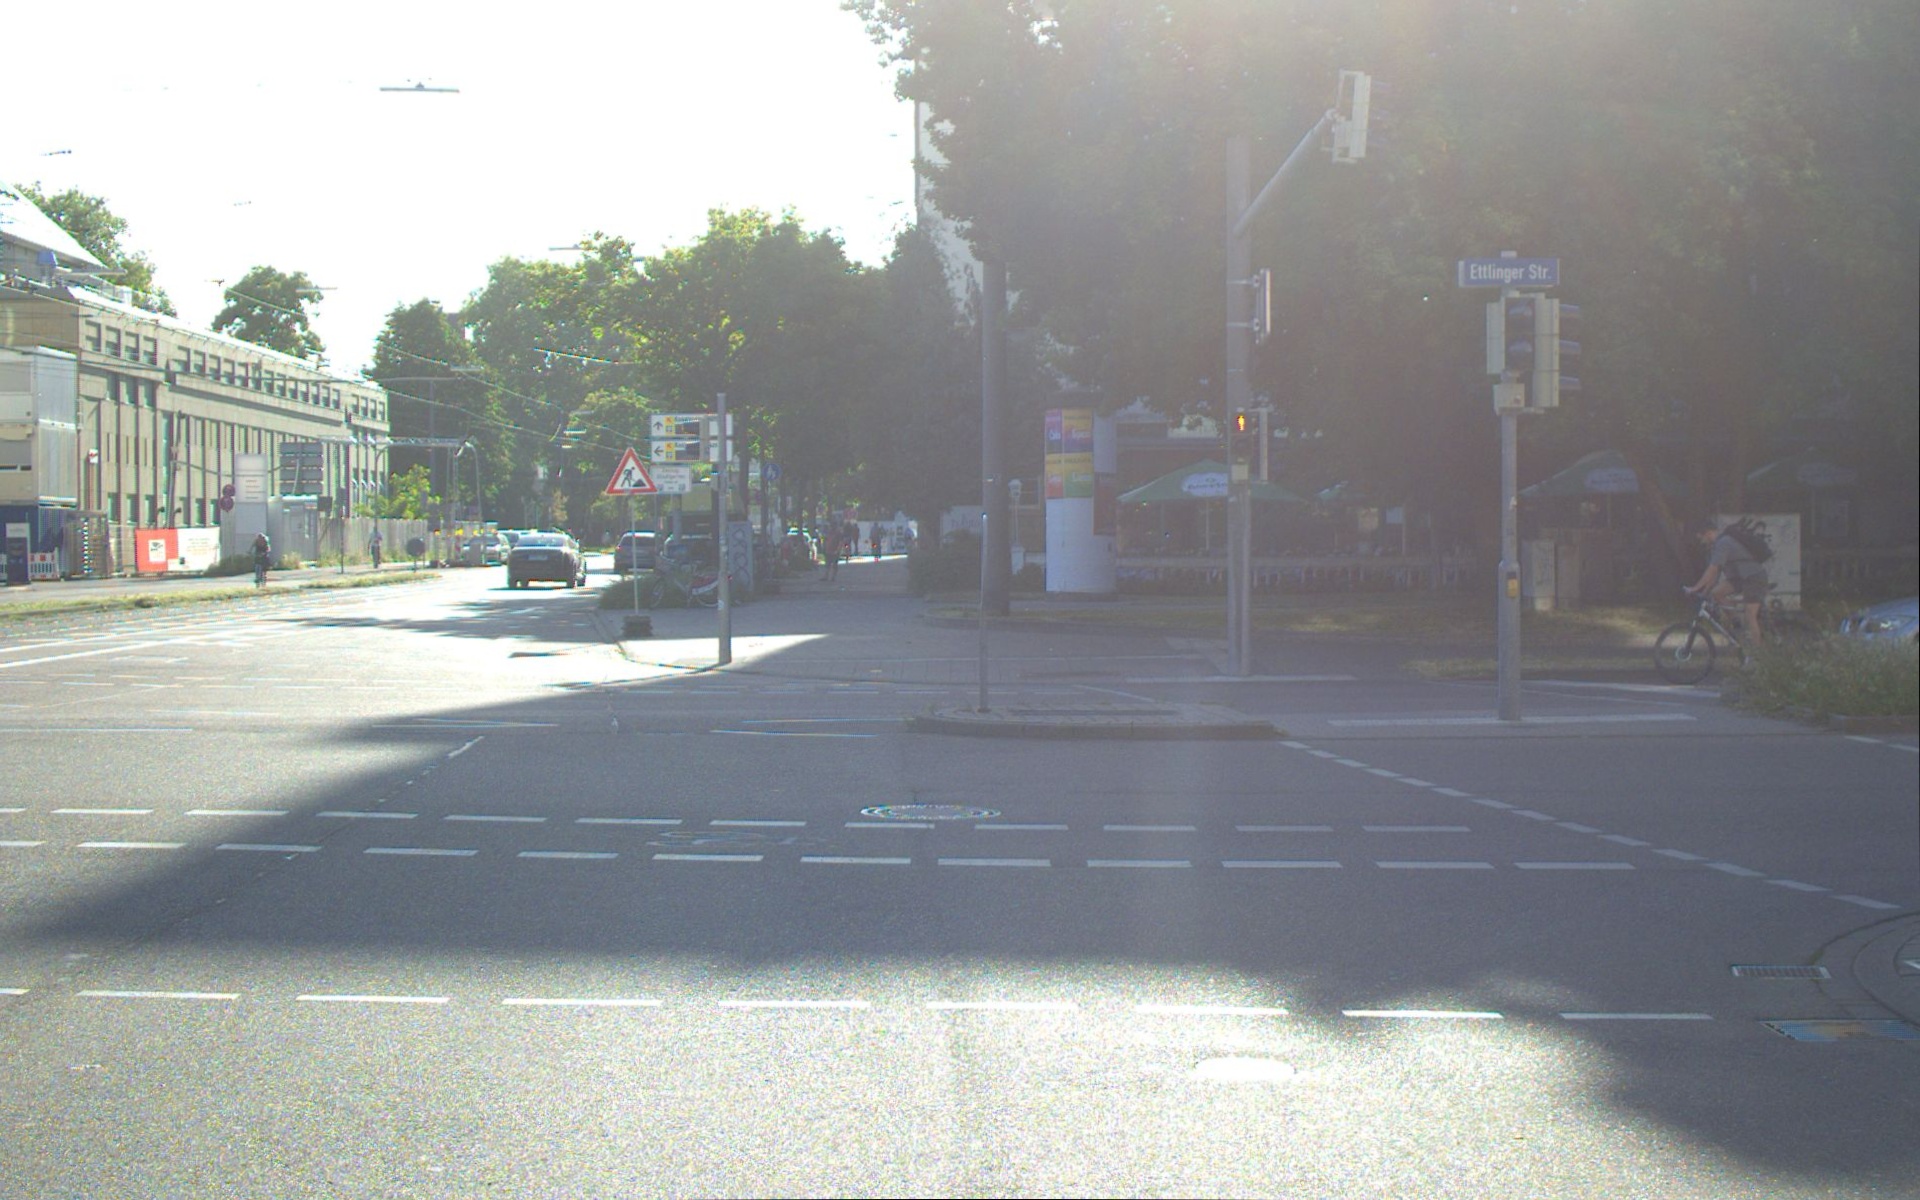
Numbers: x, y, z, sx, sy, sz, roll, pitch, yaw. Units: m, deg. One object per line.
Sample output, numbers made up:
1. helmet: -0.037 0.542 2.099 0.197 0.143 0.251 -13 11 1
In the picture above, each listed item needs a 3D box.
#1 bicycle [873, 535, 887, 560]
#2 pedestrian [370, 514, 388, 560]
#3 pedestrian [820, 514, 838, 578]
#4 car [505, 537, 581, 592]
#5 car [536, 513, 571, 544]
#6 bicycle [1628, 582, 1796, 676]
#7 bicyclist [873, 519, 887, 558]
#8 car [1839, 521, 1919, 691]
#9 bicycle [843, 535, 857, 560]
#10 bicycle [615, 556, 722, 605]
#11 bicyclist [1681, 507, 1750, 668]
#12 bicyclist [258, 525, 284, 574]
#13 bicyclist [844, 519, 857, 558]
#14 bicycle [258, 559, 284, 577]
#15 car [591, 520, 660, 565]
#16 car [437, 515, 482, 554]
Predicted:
1. bicycle: -3.465 -2.276 149.255 0.575 1.073 1.831 0 1 -1
2. pedestrian: -25.417 -2.751 150.417 0.674 2.007 0.751 1 0 -3
3. pedestrian: -3.728 -1.534 97.695 0.463 1.807 0.503 0 1 -5
4. car: -11.334 -0.980 93.665 1.660 1.450 4.433 1 1 -2
5. car: -23.016 -4.041 194.692 1.692 1.712 4.248 1 1 -4
6. bicycle: 7.912 0.303 36.212 1.667 0.960 0.533 0 1 5
7. bicyclist: -3.479 -2.682 149.270 0.569 1.685 0.700 0 1 -1
8. car: 10.761 0.022 33.415 3.993 1.605 1.650 -1 1 -1
9. bicycle: -4.750 -2.293 149.143 0.575 1.073 1.831 0 1 -1
10. bicycle: -5.725 -0.385 67.483 2.018 0.888 0.650 -2 0 27
11. bicyclist: 7.950 -0.136 36.183 0.643 1.677 0.507 0 1 5
12. bicyclist: -19.364 -1.423 96.635 0.596 1.372 0.638 1 0 -2
13. bicyclist: -4.754 -2.689 149.173 0.569 1.685 0.700 0 1 -1
14. bicycle: -19.358 -0.896 96.636 0.501 0.513 1.258 1 1 -1
15. car: -12.347 -2.140 127.192 1.892 1.560 4.808 3 1 2
16. car: -22.775 -2.974 156.447 1.692 1.712 4.248 1 1 -4
